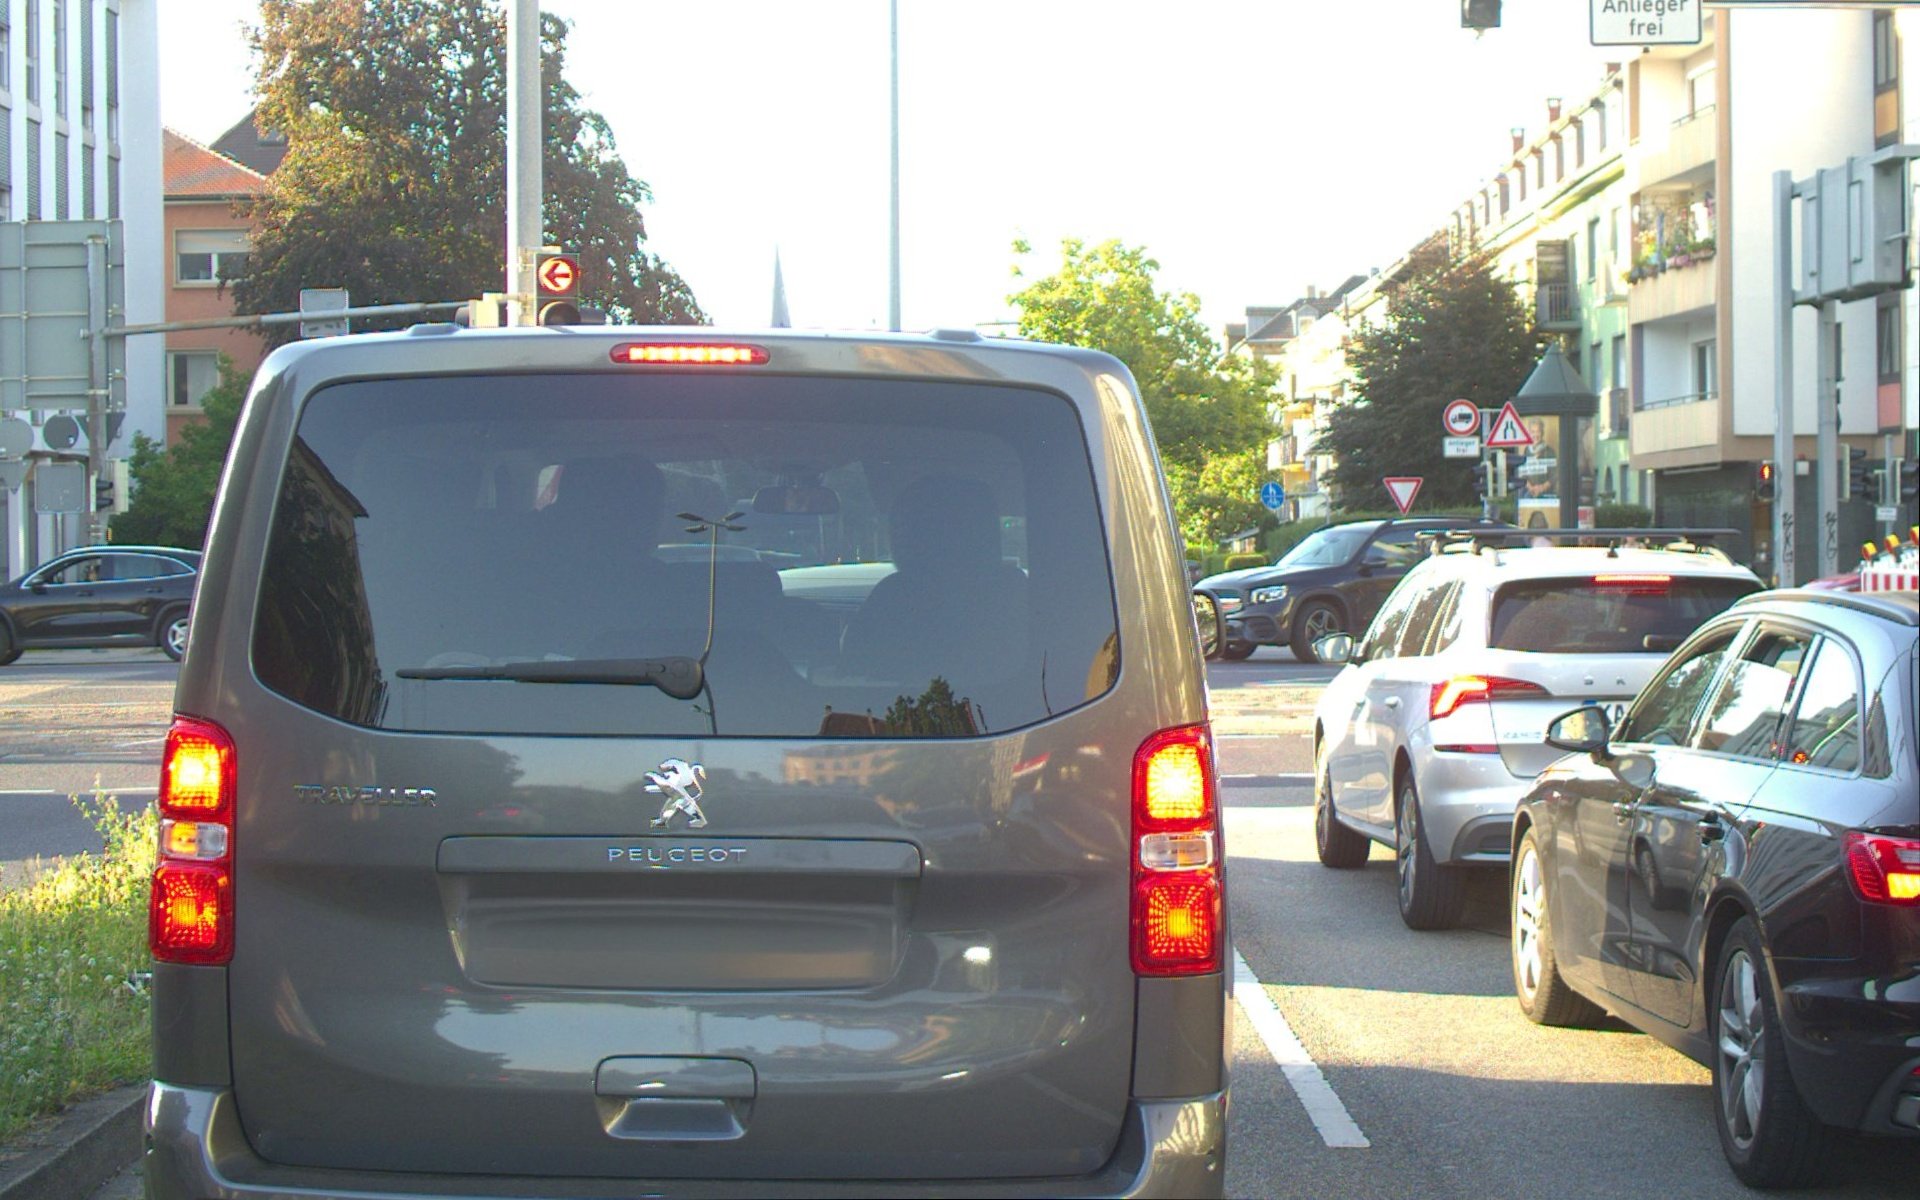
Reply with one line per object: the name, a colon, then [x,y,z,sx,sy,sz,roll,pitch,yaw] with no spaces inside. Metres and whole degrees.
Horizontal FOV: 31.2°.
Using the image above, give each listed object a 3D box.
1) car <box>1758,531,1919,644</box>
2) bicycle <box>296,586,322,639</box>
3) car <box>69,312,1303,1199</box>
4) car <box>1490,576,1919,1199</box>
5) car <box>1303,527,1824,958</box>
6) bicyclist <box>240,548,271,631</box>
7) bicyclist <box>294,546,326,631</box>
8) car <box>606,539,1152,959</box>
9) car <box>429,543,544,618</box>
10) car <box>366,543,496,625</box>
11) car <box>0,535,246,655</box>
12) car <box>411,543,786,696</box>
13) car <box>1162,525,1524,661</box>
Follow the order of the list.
car: [12.498,-0.187,44.286,3.986,1.413,1.682,-1,1,-14]
bicycle: [-11.926,0.218,62.993,0.276,0.945,1.072,0,1,-1]
car: [-0.460,0.457,7.640,1.907,1.857,4.527,1,1,-1]
car: [2.626,0.680,9.236,1.681,1.416,4.214,1,1,-1]
car: [2.473,0.509,14.899,1.528,1.608,3.745,1,1,-1]
bicyclist: [-12.919,-0.201,63.013,0.462,1.516,0.469,0,1,-1]
bicyclist: [-11.911,-0.207,62.977,0.477,1.550,0.509,0,1,-1]
car: [-0.321,0.513,14.628,1.993,1.525,4.000,0,1,-1]
car: [-9.348,-0.407,68.117,1.856,1.415,4.001,-1,1,-2]
car: [-9.570,-0.308,62.428,1.856,1.415,4.001,-1,1,-2]
car: [-12.038,-0.061,47.366,4.117,1.588,1.795,-1,0,-5]
car: [-3.535,0.148,34.306,1.679,1.413,3.993,0,1,30]
car: [4.498,-0.109,40.225,3.987,1.511,1.682,-1,1,-30]
